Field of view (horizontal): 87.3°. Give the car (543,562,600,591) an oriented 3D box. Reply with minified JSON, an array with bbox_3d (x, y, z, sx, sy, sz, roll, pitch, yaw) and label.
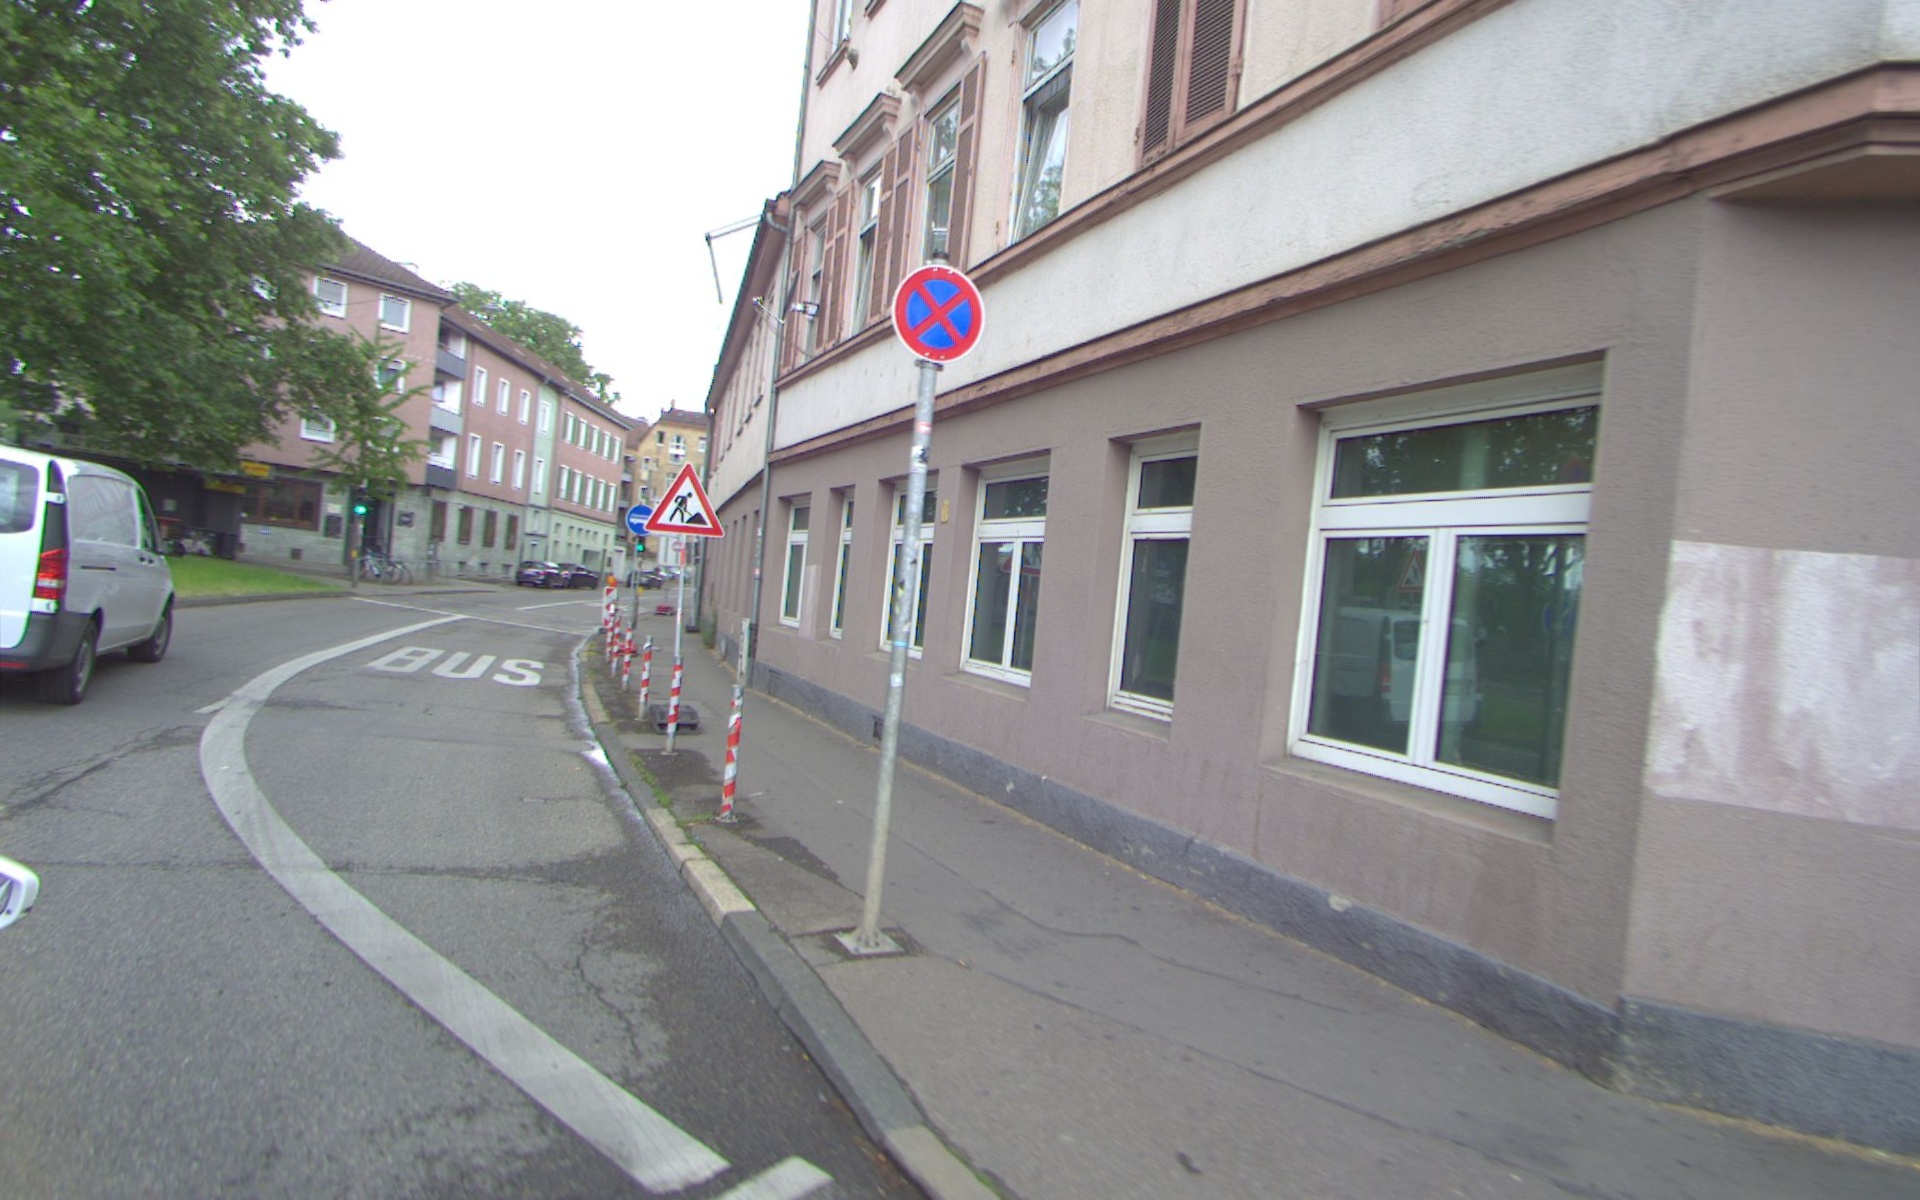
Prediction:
[{"bbox_3d":[-22.936,-1.351,59.594,1.964,1.415,3.998,5,-1,-4],"label":"car"}]

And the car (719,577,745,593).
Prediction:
[{"bbox_3d":[-23.462,-1.507,103.681,1.964,1.415,3.998,5,-1,-4],"label":"car"}]

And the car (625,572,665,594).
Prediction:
[{"bbox_3d":[-23.868,-1.234,76.316,1.964,1.415,3.998,5,-1,-4],"label":"car"}]

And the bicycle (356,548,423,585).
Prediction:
[{"bbox_3d":[-20.418,-1.188,36.045,1.982,1.048,0.558,8,-1,-31],"label":"bicycle"}]

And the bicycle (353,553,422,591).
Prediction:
[{"bbox_3d":[-19.875,-0.975,34.943,1.982,1.048,0.558,8,-1,-31],"label":"bicycle"}]

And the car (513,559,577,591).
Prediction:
[{"bbox_3d":[-22.427,-1.321,54.562,1.964,1.415,3.998,5,-1,-4],"label":"car"}]

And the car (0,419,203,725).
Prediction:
[{"bbox_3d":[-8.123,-0.327,8.519,1.935,2.037,4.664,7,-1,-29],"label":"car"}]
